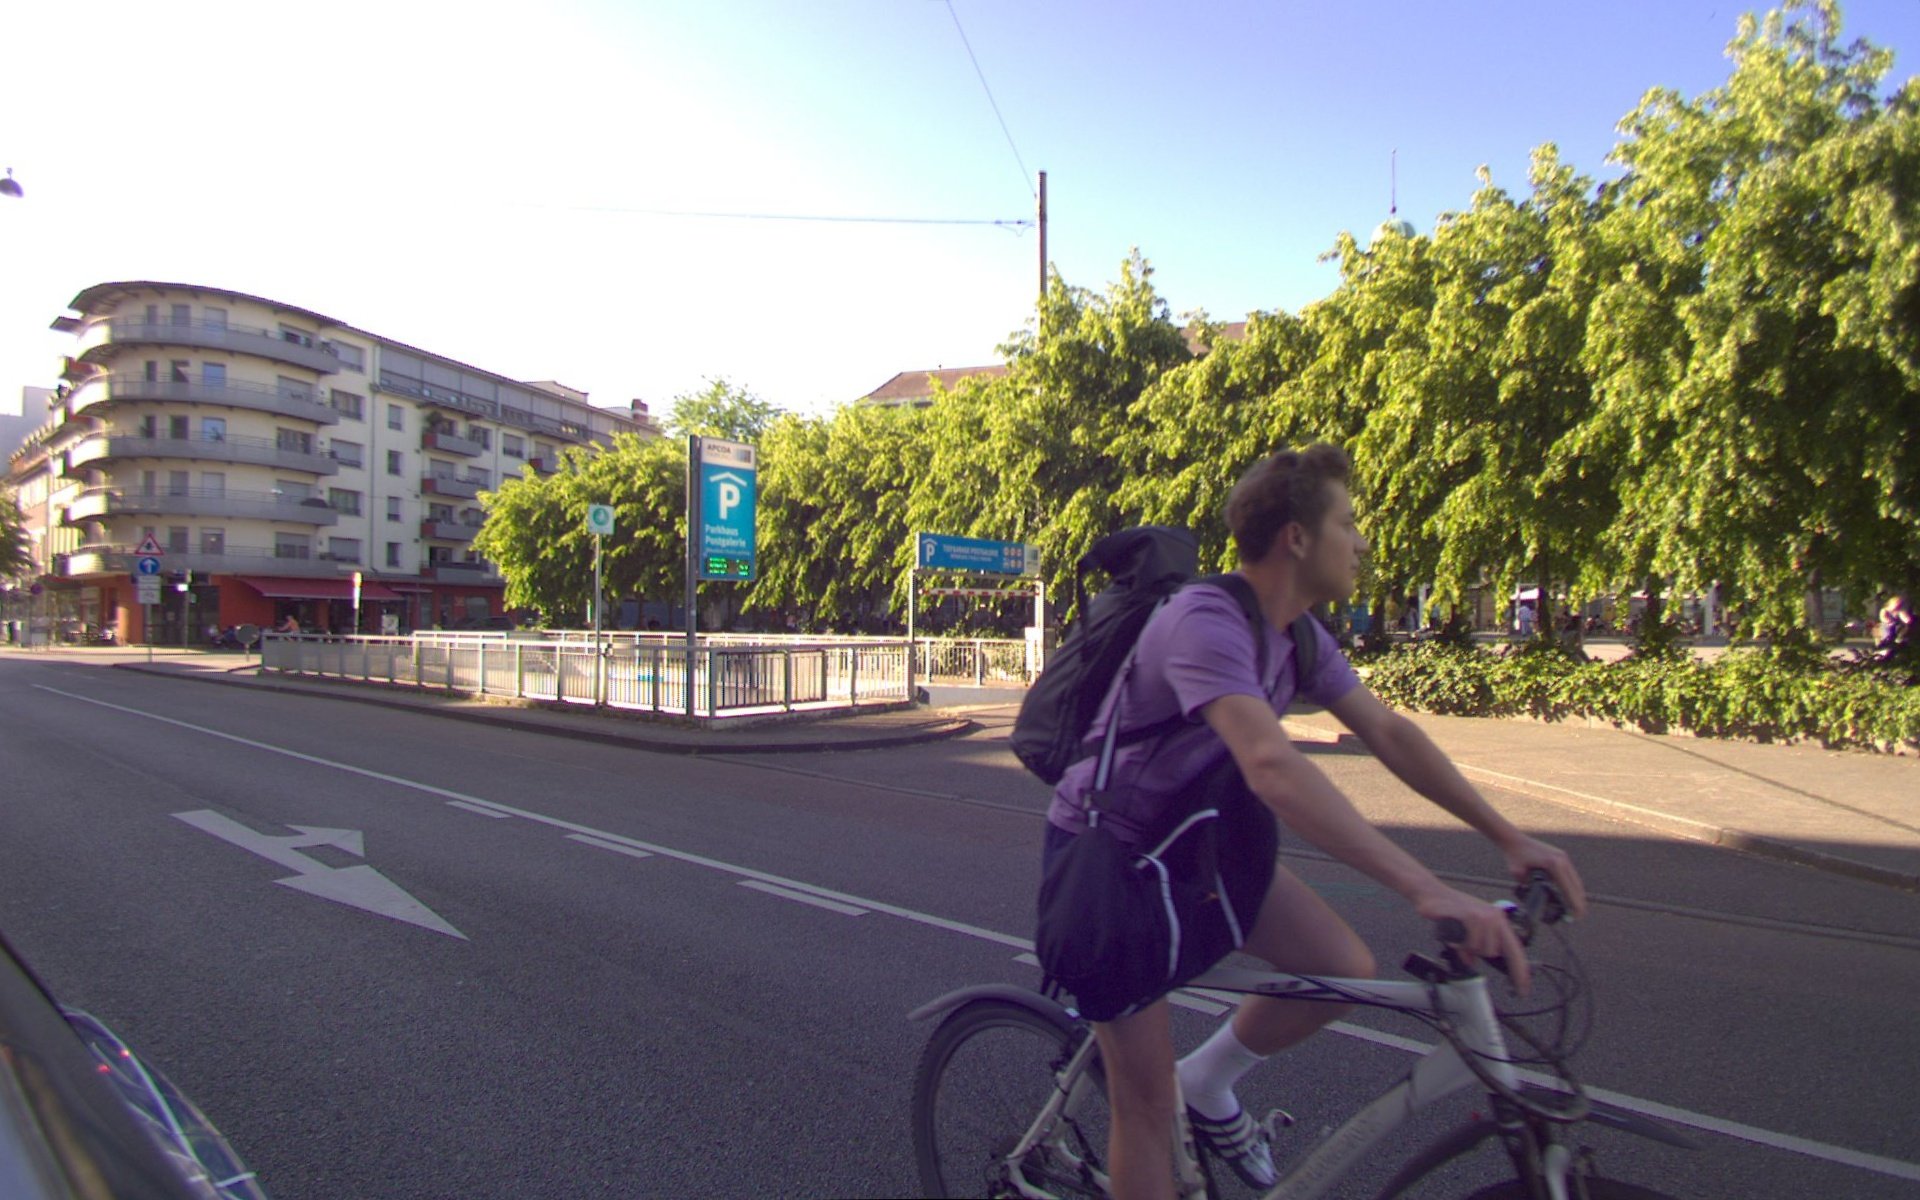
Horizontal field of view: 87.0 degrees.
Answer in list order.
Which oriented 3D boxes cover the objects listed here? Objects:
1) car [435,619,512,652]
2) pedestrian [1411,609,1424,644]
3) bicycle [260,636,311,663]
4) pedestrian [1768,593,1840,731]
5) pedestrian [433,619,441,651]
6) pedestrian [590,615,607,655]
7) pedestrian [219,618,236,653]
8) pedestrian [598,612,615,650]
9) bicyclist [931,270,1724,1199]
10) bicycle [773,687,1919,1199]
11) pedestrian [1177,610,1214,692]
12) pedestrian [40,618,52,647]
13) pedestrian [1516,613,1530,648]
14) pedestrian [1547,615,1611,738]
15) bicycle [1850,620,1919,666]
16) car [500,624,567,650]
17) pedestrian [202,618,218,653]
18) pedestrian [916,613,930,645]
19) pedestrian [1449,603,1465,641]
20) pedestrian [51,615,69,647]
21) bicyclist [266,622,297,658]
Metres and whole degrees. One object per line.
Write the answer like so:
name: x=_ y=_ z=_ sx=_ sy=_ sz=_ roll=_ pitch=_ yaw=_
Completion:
car: x=-30.422 y=2.189 z=63.471 sx=1.938 sy=1.927 sz=4.403 roll=-1 pitch=-1 yaw=16
pedestrian: x=23.788 y=1.386 z=52.600 sx=0.580 sy=1.806 sz=0.596 roll=-1 pitch=0 yaw=27
bicycle: x=-31.308 y=2.298 z=46.991 sx=1.843 sy=1.221 sz=0.715 roll=0 pitch=0 yaw=-10
pedestrian: x=11.786 y=0.848 z=14.143 sx=0.597 sy=1.870 sz=0.578 roll=-1 pitch=0 yaw=22
pedestrian: x=-27.651 y=1.869 z=53.513 sx=0.318 sy=1.680 sz=0.362 roll=0 pitch=-1 yaw=-17
pedestrian: x=-16.786 y=1.625 z=46.983 sx=0.574 sy=1.806 sz=0.602 roll=0 pitch=0 yaw=-5
pedestrian: x=-36.821 y=1.777 z=50.871 sx=0.642 sy=1.721 sz=0.568 roll=-2 pitch=-2 yaw=43
pedestrian: x=-16.773 y=1.477 z=48.044 sx=0.574 sy=1.806 sz=0.601 roll=-1 pitch=0 yaw=0
bicyclist: x=0.591 y=0.389 z=1.674 sx=1.007 sy=1.445 sz=0.788 roll=-1 pitch=-1 yaw=41
bicycle: x=0.558 y=0.827 z=1.697 sx=1.773 sy=1.242 sz=0.788 roll=-1 pitch=-1 yaw=41
pedestrian: x=5.528 y=1.177 z=23.751 sx=0.674 sy=1.870 sz=0.577 roll=-1 pitch=-1 yaw=30
pedestrian: x=-48.175 y=1.718 z=53.353 sx=0.515 sy=1.541 sz=0.371 roll=-1 pitch=-1 yaw=37
pedestrian: x=29.041 y=1.574 z=52.191 sx=0.598 sy=1.806 sz=0.577 roll=-1 pitch=0 yaw=27
pedestrian: x=9.698 y=1.169 z=15.850 sx=0.732 sy=1.870 sz=0.574 roll=-1 pitch=-1 yaw=44
bicycle: x=22.290 y=0.997 z=23.981 sx=0.496 sy=1.024 sz=2.061 roll=-1 pitch=0 yaw=-3
car: x=-28.885 y=2.465 z=68.615 sx=1.938 sy=1.633 sz=4.272 roll=-1 pitch=-1 yaw=16
pedestrian: x=-37.621 y=1.785 z=50.762 sx=0.642 sy=1.721 sz=0.568 roll=-2 pitch=-2 yaw=43
pedestrian: x=-2.131 y=1.671 z=57.973 sx=0.578 sy=1.806 sz=0.597 roll=-1 pitch=0 yaw=20
pedestrian: x=23.967 y=1.043 z=48.806 sx=0.599 sy=1.806 sz=0.576 roll=-1 pitch=-1 yaw=31
pedestrian: x=-47.743 y=1.642 z=53.675 sx=0.792 sy=1.634 sz=0.563 roll=-1 pitch=-1 yaw=37
bicyclist: x=-31.484 y=1.838 z=46.963 sx=0.960 sy=1.627 sz=0.715 roll=0 pitch=0 yaw=-10
